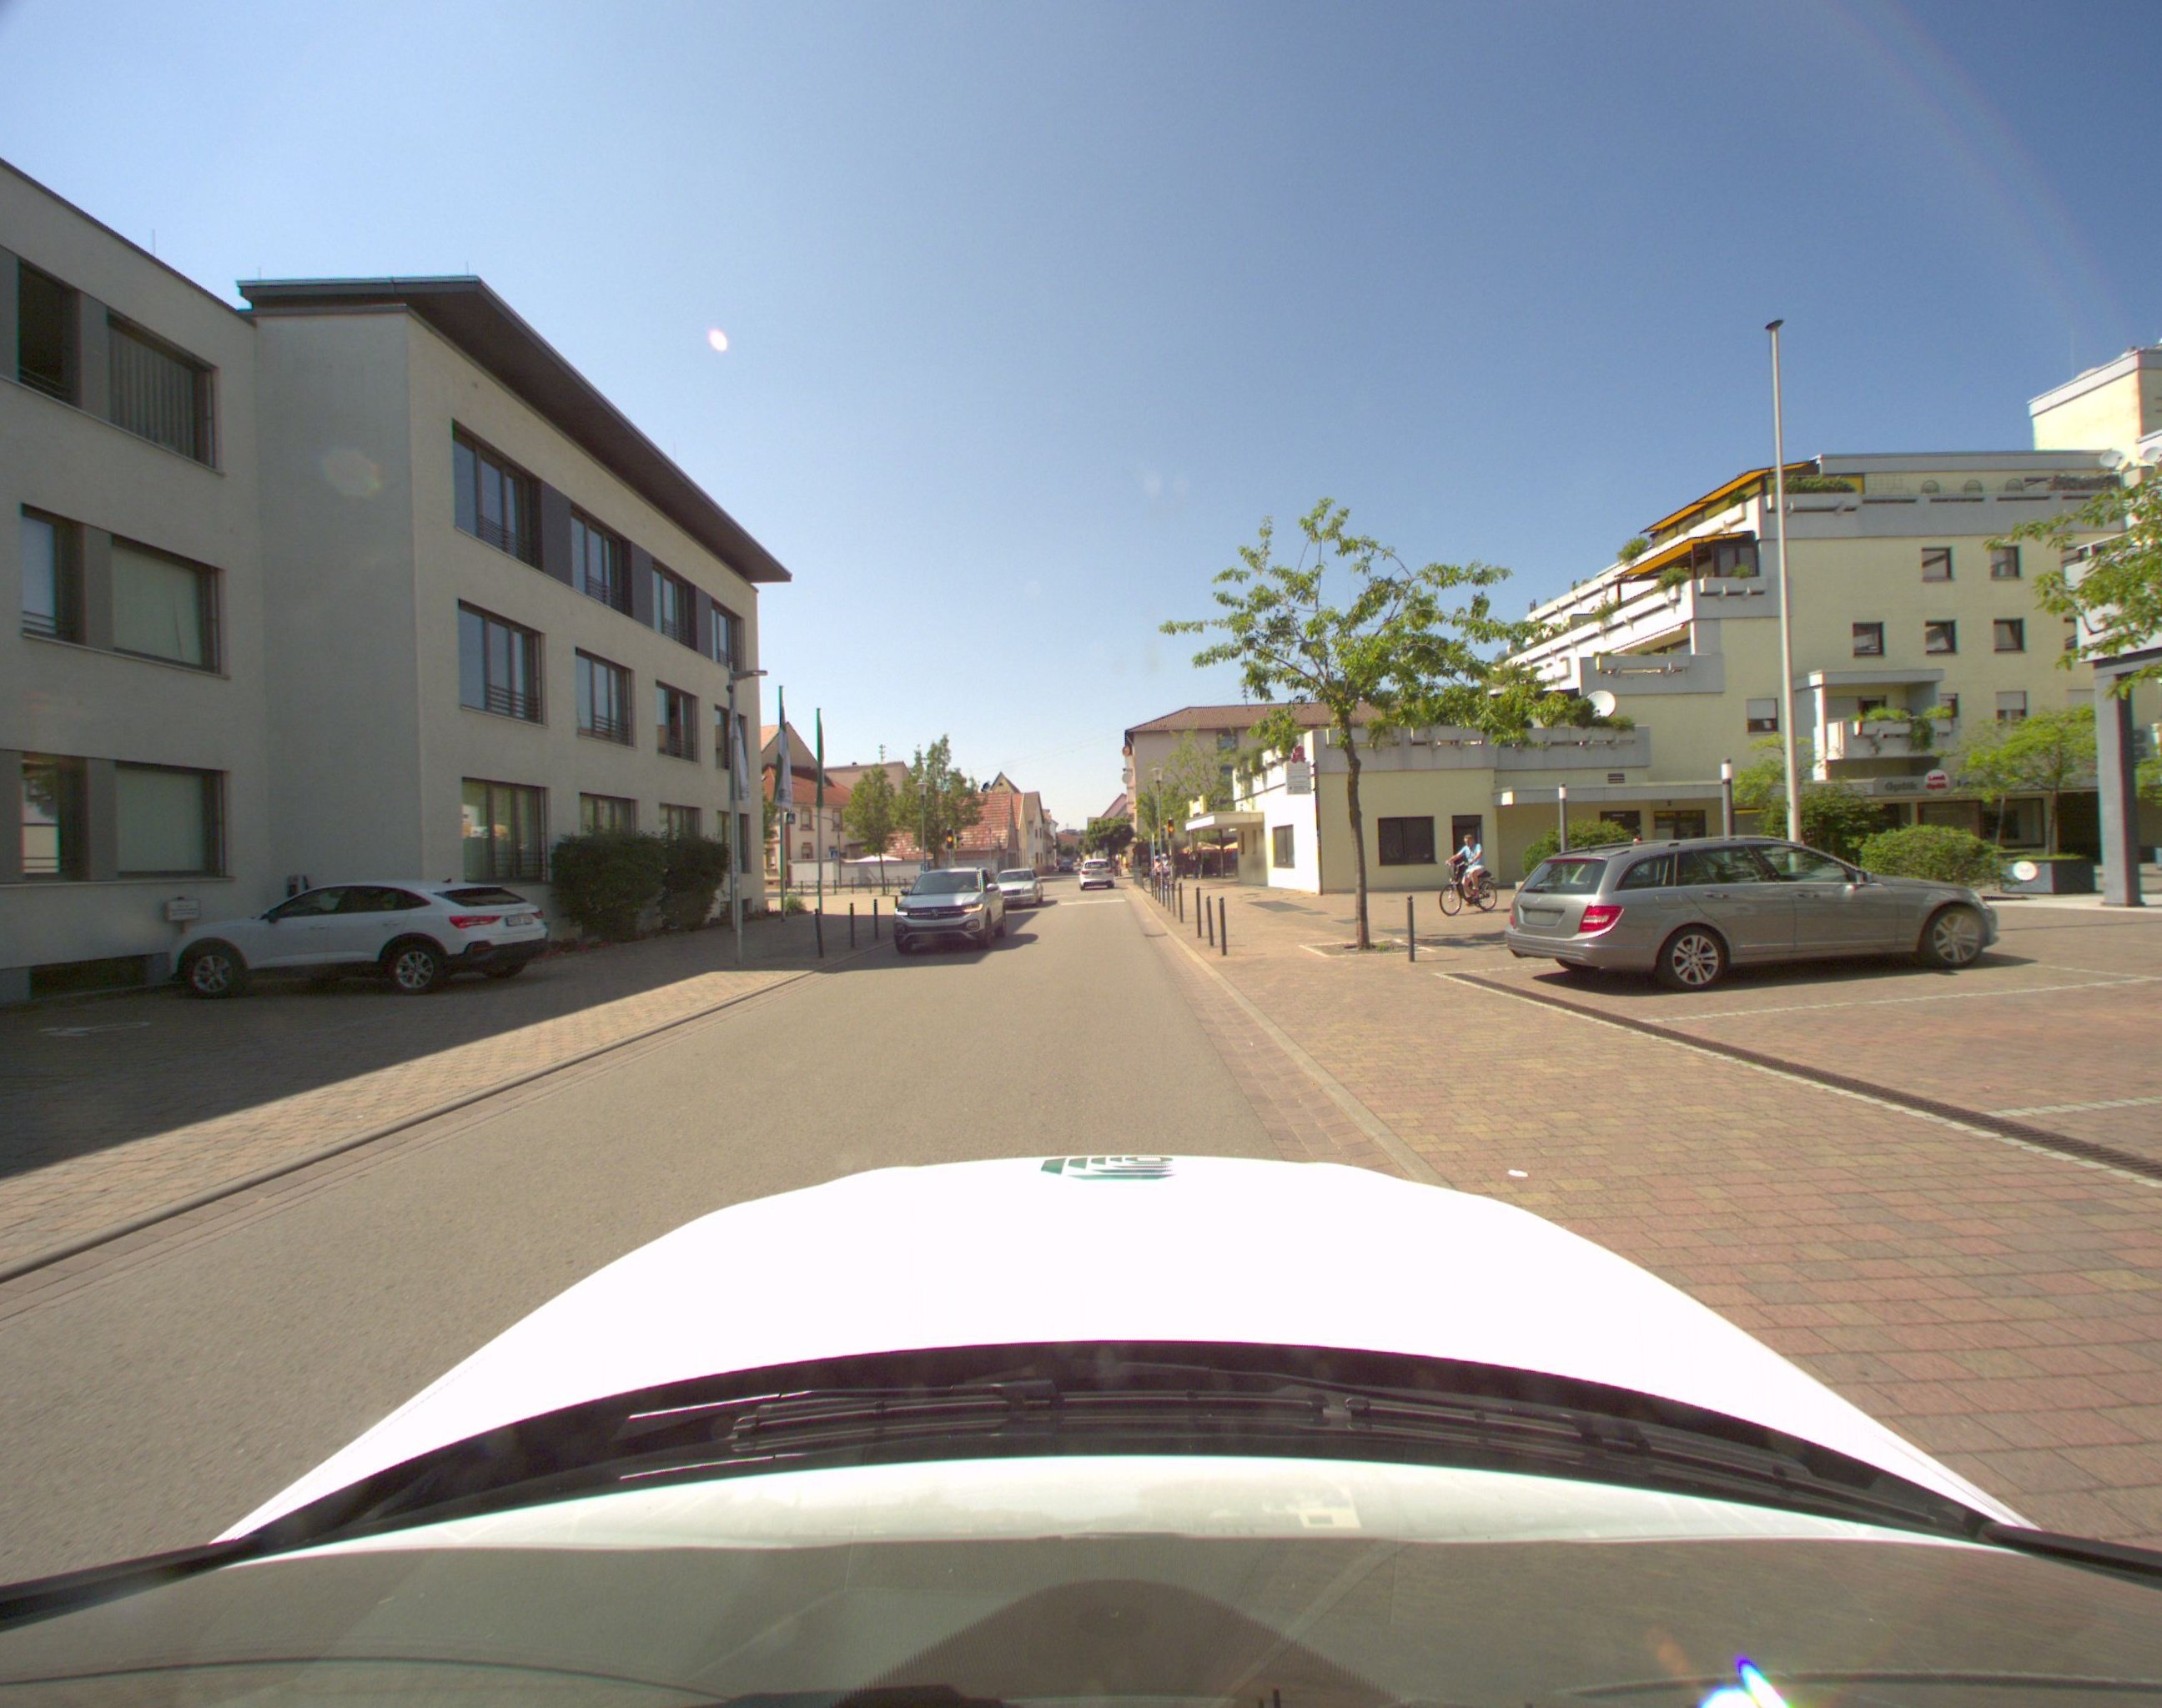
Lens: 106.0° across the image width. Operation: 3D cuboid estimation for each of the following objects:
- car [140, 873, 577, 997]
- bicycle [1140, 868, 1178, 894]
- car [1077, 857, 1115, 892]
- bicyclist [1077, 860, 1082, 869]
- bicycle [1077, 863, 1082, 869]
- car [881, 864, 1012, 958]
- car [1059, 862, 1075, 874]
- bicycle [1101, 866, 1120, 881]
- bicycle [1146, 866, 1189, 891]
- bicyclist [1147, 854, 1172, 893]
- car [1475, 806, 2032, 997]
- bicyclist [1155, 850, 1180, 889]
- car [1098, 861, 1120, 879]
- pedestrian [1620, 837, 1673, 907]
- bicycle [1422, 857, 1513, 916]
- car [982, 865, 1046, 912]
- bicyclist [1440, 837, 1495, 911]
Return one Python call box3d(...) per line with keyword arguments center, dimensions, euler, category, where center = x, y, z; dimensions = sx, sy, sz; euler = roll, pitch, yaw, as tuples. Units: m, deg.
box3d(center=(-10.398, 1.114, 12.055), dimensions=(4.492, 1.554, 2.147), euler=(-1, -1, -1), category="car")
box3d(center=(3.322, 1.129, 34.461), dimensions=(0.667, 0.958, 1.908), euler=(-4, 0, 35), category="bicycle")
box3d(center=(0.873, 1.079, 44.174), dimensions=(1.827, 1.652, 4.002), euler=(-5, -1, 2), category="car")
box3d(center=(-0.241, 1.723, 136.200), dimensions=(0.670, 1.483, 0.771), euler=(-3, -1, 4), category="bicyclist")
box3d(center=(-0.214, 2.048, 136.274), dimensions=(0.661, 1.006, 1.899), euler=(-2, -1, 4), category="bicycle")
box3d(center=(-2.567, 1.041, 16.501), dimensions=(1.844, 1.573, 4.001), euler=(-2, -1, 1), category="car")
box3d(center=(-1.811, 1.779, 106.122), dimensions=(1.706, 1.517, 3.789), euler=(-2, -1, 3), category="car")
box3d(center=(2.402, 1.580, 66.286), dimensions=(0.530, 1.193, 1.655), euler=(-1, -1, -42), category="bicycle")
box3d(center=(3.833, 1.087, 36.133), dimensions=(1.905, 0.958, 0.668), euler=(-4, 0, -39), category="bicycle")
box3d(center=(3.319, 0.826, 34.459), dimensions=(0.662, 1.581, 0.766), euler=(-4, 0, 35), category="bicyclist")
box3d(center=(7.030, 0.451, 8.829), dimensions=(4.568, 1.512, 1.913), euler=(-4, -1, -5), category="car")
box3d(center=(3.834, 0.675, 36.162), dimensions=(0.765, 1.664, 0.663), euler=(-4, -1, -38), category="bicyclist")
box3d(center=(2.595, 1.432, 75.065), dimensions=(1.797, 1.501, 4.004), euler=(-2, 0, 4), category="car")
box3d(center=(12.662, 0.404, 18.255), dimensions=(0.792, 1.521, 0.710), euler=(-2, -1, 20), category="pedestrian")
box3d(center=(8.342, 0.688, 17.571), dimensions=(1.899, 1.109, 0.670), euler=(-4, 0, -25), category="bicycle")
box3d(center=(-2.454, 1.253, 31.044), dimensions=(1.874, 1.464, 4.437), euler=(-4, 0, 1), category="car")
box3d(center=(8.340, 0.420, 17.583), dimensions=(0.763, 1.526, 0.665), euler=(-4, 0, -25), category="bicyclist")
